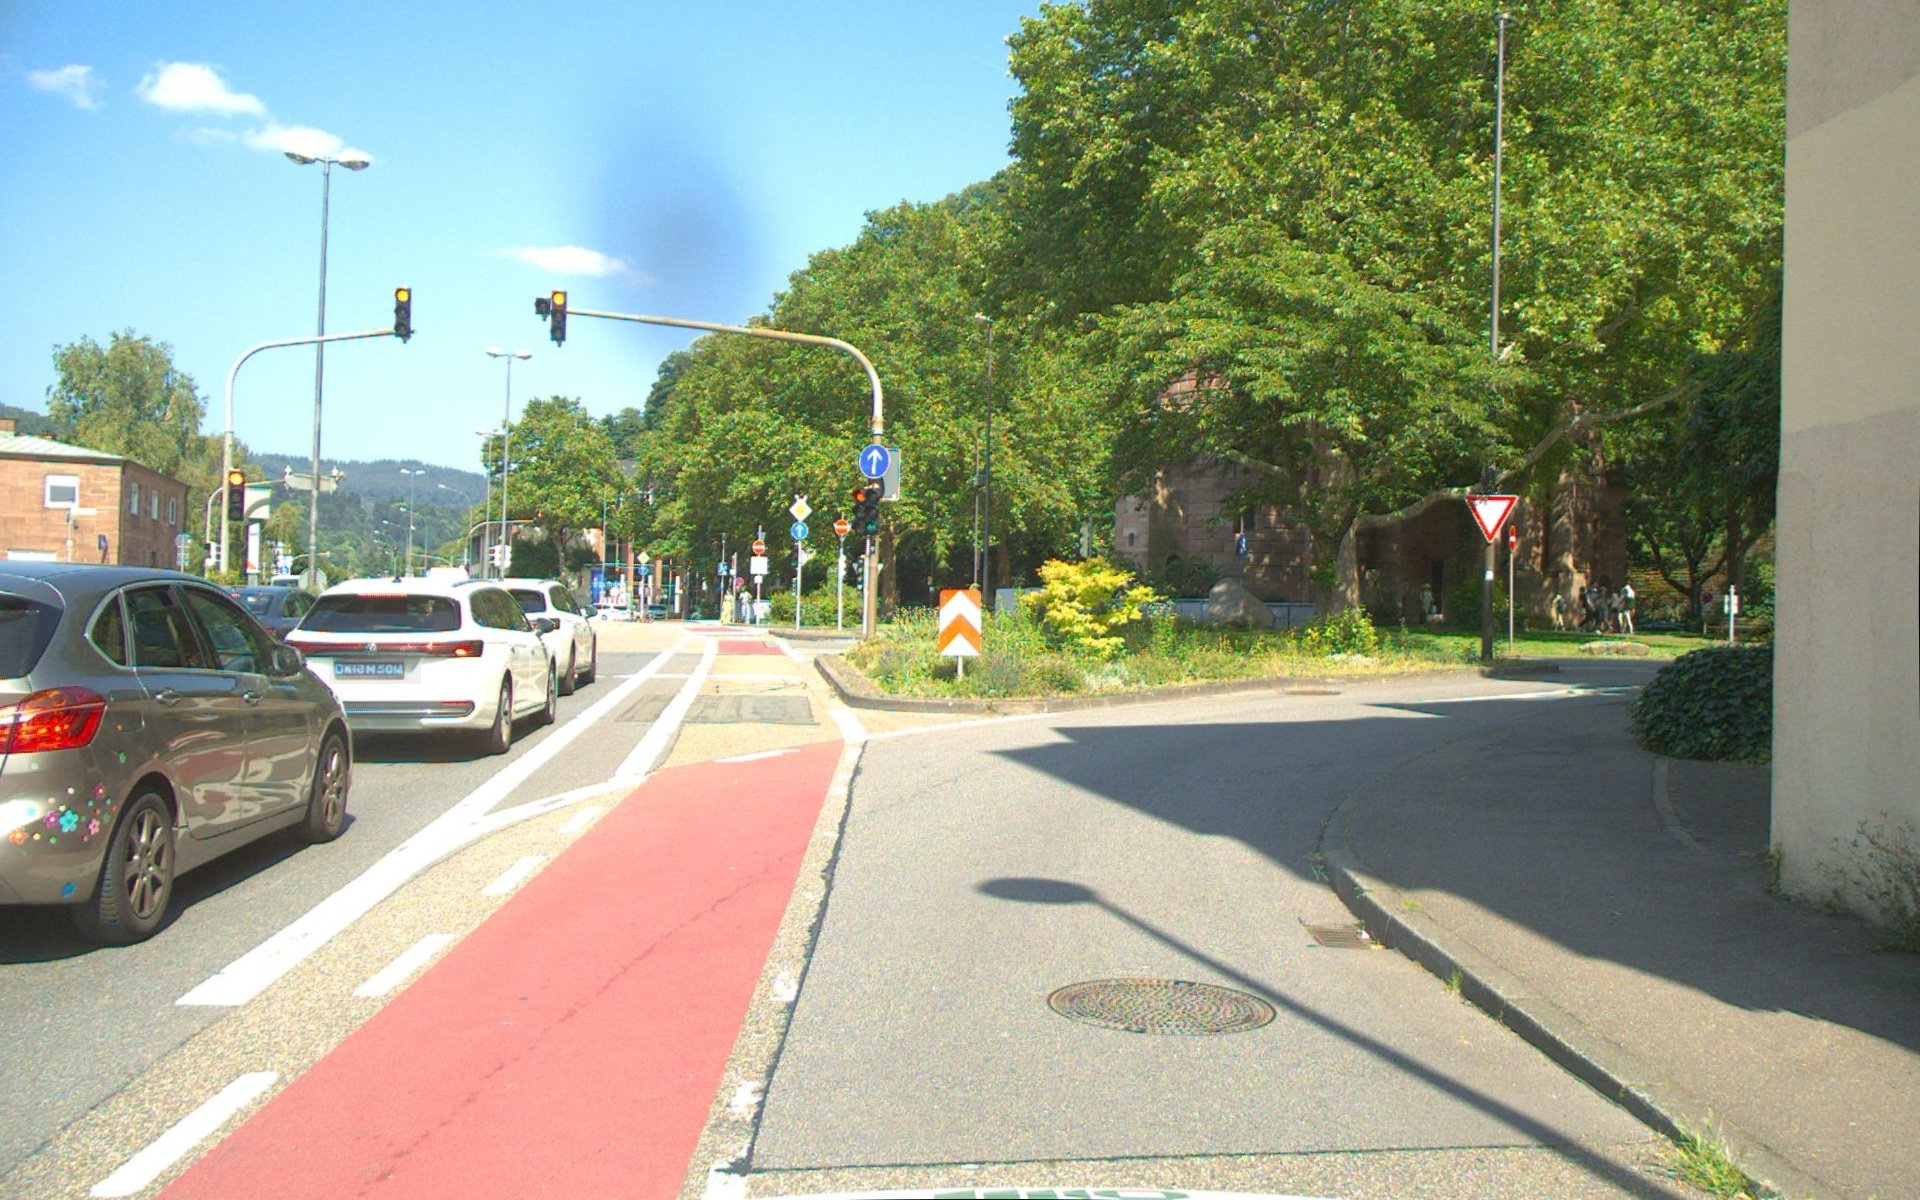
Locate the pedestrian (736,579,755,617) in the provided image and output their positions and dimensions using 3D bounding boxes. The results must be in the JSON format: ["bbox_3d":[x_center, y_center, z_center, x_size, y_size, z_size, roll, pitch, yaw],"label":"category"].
[{"bbox_3d":[-9.926,-0.091,76.589,0.746,1.738,0.878,0,1,1],"label":"pedestrian"}]

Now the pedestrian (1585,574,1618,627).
[{"bbox_3d":[22.020,0.012,56.764,0.778,1.786,0.663,2,0,-12],"label":"pedestrian"}]

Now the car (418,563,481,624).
[{"bbox_3d":[-23.118,-0.331,74.795,2.349,2.621,6.017,0,1,-21],"label":"car"}]

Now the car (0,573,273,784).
[{"bbox_3d":[-7.578,0.560,14.474,1.831,1.589,3.995,0,1,-6],"label":"car"}]

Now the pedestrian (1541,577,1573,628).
[{"bbox_3d":[21.540,0.076,59.693,0.778,1.786,0.663,2,0,-12],"label":"pedestrian"}]

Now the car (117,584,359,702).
[{"bbox_3d":[-9.453,0.496,21.996,1.831,1.382,3.995,0,1,-6],"label":"car"}]

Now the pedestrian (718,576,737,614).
[{"bbox_3d":[-10.766,-0.227,76.706,0.746,1.749,0.795,0,1,1],"label":"pedestrian"}]

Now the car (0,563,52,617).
[{"bbox_3d":[-37.452,-0.367,63.092,1.965,2.049,4.589,1,1,43],"label":"car"}]

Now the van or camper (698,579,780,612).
[{"bbox_3d":[-13.142,-0.293,98.467,4.445,1.935,2.002,0,1,12],"label":"van or camper"}]

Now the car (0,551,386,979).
[{"bbox_3d":[-4.337,0.572,8.058,1.851,1.547,4.302,1,0,-4],"label":"car"}]

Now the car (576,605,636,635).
[{"bbox_3d":[-24.832,1.395,116.064,3.916,2.049,1.937,1,1,33],"label":"car"}]

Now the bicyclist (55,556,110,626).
[{"bbox_3d":[-26.058,-0.284,49.120,1.192,2.049,1.114,0,1,-15],"label":"bicyclist"}]

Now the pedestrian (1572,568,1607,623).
[{"bbox_3d":[21.046,-0.151,55.308,0.778,1.786,0.720,2,0,-12],"label":"pedestrian"}]

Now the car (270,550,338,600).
[{"bbox_3d":[-28.904,-1.119,72.986,2.178,2.114,5.024,0,1,-15],"label":"car"}]

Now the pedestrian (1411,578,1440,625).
[{"bbox_3d":[18.183,0.056,64.600,0.778,1.813,0.873,0,1,-11],"label":"pedestrian"}]

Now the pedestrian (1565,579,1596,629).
[{"bbox_3d":[22.470,0.144,59.898,0.778,1.786,0.663,2,0,-12],"label":"pedestrian"}]

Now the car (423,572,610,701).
[{"bbox_3d":[-5.908,0.419,22.553,1.751,1.559,4.730,0,0,-6],"label":"car"}]

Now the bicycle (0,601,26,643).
[{"bbox_3d":[-27.342,0.612,46.551,1.192,1.109,2.588,0,1,-15],"label":"bicycle"}]

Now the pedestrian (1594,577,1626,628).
[{"bbox_3d":[23.089,0.086,58.769,0.778,1.786,0.663,2,0,-12],"label":"pedestrian"}]

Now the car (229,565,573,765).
[{"bbox_3d":[-4.941,0.458,15.396,1.955,1.560,4.853,0,1,-5],"label":"car"}]

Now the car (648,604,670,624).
[{"bbox_3d":[-24.601,1.147,135.145,1.701,1.541,3.611,0,1,-12],"label":"car"}]

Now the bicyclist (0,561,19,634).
[{"bbox_3d":[-27.354,-0.076,46.612,1.192,2.049,1.114,0,1,-15],"label":"bicyclist"}]
